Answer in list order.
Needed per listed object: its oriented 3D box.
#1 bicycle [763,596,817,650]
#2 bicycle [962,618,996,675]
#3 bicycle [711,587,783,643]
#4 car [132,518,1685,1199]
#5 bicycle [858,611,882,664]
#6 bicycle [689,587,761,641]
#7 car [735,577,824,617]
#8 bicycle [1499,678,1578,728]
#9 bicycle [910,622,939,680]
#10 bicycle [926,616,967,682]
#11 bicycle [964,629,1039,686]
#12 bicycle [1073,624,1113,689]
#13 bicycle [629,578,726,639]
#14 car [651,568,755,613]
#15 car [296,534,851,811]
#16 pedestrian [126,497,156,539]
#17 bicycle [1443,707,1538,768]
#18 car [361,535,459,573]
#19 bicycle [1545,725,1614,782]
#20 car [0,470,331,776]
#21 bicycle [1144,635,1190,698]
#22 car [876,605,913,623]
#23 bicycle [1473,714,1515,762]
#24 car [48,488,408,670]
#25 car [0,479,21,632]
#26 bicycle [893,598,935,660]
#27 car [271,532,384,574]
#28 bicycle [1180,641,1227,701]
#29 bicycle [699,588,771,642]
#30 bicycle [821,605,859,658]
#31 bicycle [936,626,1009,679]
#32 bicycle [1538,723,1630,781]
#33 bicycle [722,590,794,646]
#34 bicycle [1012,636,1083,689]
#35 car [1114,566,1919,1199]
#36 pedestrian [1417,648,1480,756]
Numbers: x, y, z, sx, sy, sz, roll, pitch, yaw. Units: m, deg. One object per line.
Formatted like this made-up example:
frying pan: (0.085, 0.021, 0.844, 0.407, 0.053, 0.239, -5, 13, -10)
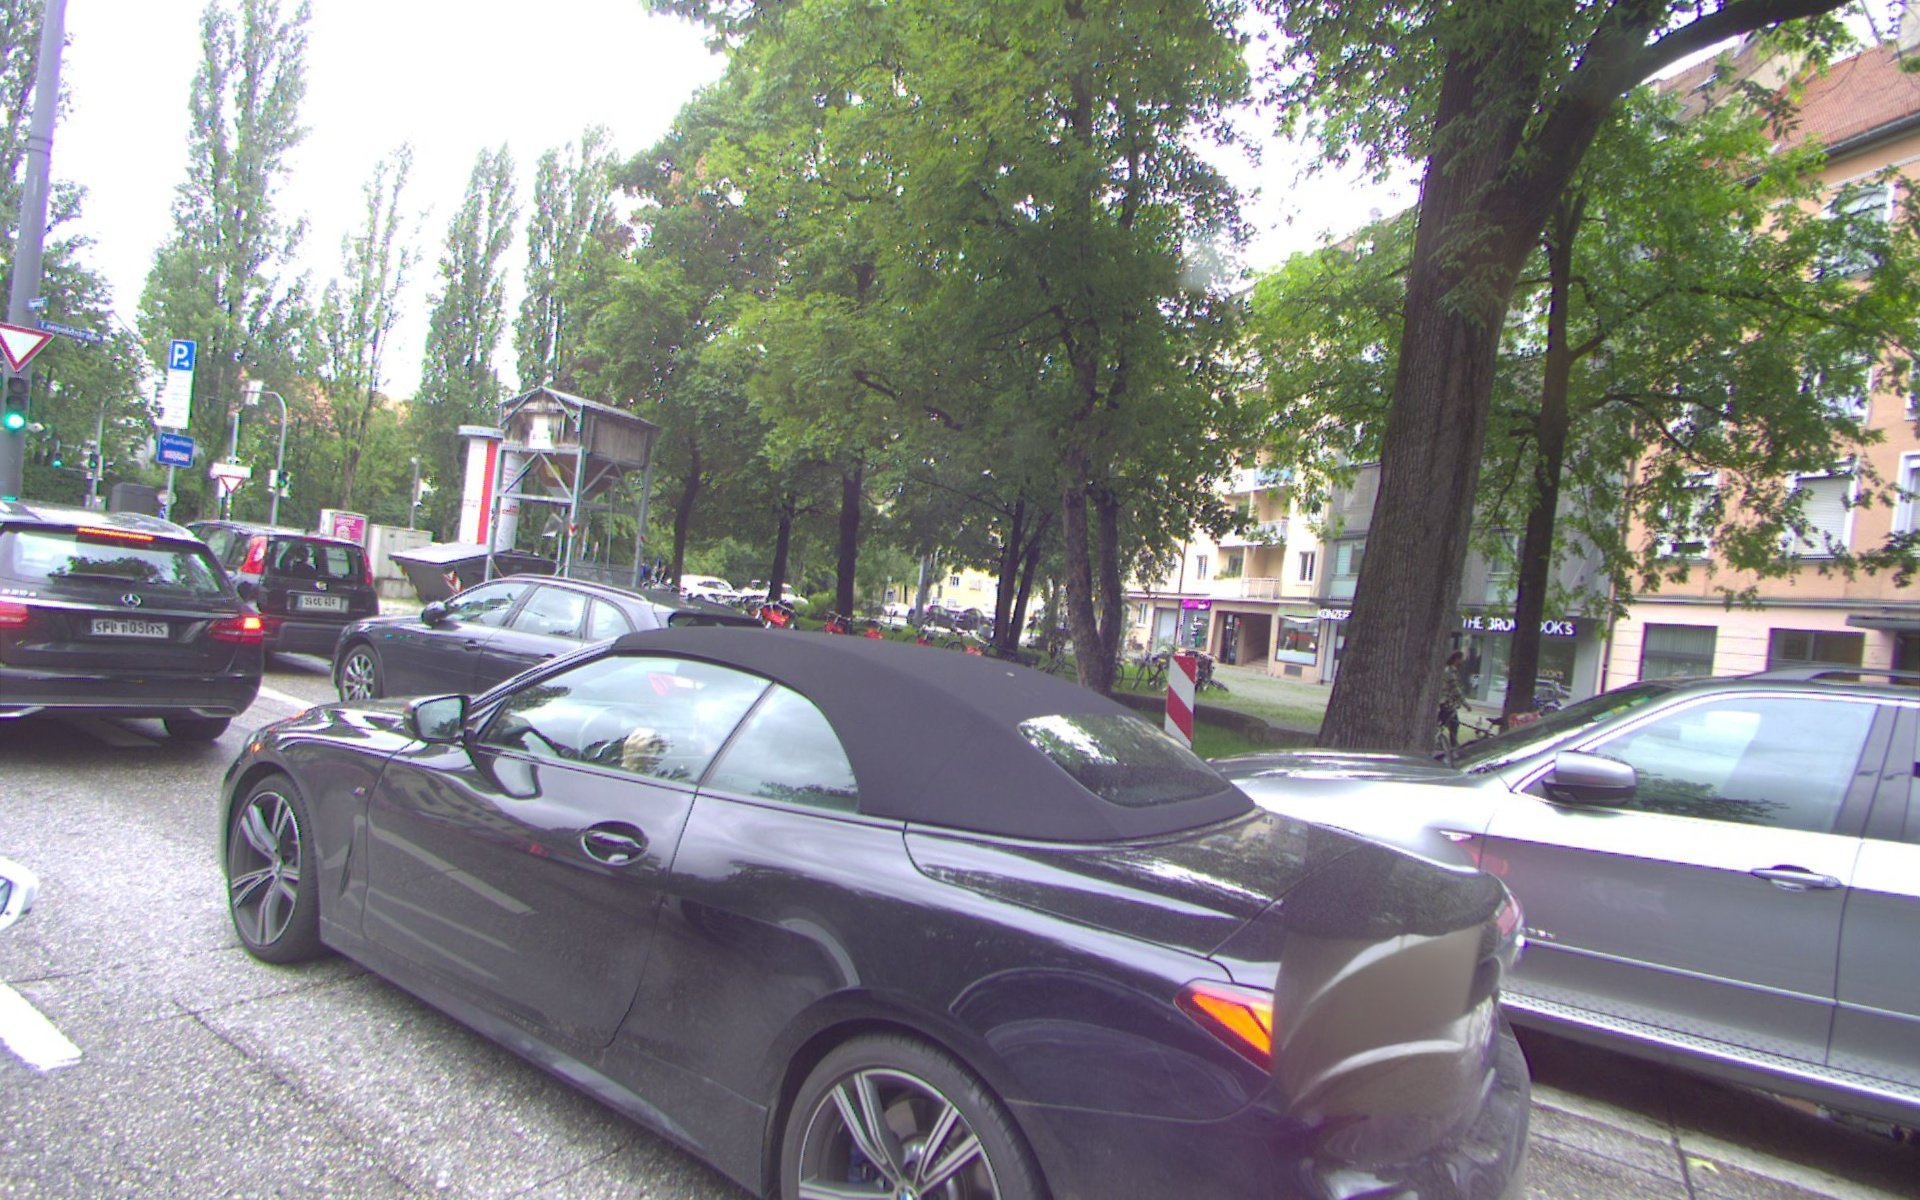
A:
bicycle: (-3.166, 0.446, 18.832, 0.307, 0.904, 1.414, 7, -2, 17)
bicycle: (0.309, 0.777, 17.184, 0.308, 0.904, 1.412, 7, -2, -5)
bicycle: (-4.080, 0.302, 19.351, 0.308, 0.904, 1.408, 6, -2, 38)
car: (-0.664, 0.692, 3.336, 4.719, 1.406, 1.726, 7, 0, 32)
bicycle: (-1.637, 0.672, 18.268, 0.308, 0.904, 1.412, 7, -2, -5)
bicycle: (-4.612, 0.281, 19.782, 0.308, 0.904, 1.408, 6, -2, 38)
car: (-8.413, -0.111, 47.288, 1.700, 1.424, 4.370, 7, 0, 27)
bicycle: (18.272, 3.229, 31.832, 0.500, 1.304, 2.238, 7, -2, -22)
bicycle: (-0.608, 0.848, 16.995, 0.308, 0.904, 1.412, 7, -2, -5)
bicycle: (-0.283, 1.134, 23.292, 0.619, 1.372, 2.471, 7, -2, 3)
bicycle: (0.781, 1.081, 19.107, 1.391, 0.904, 0.312, 6, -1, 38)
bicycle: (3.307, 1.381, 25.184, 0.619, 1.374, 2.467, 7, 2, 2)
bicycle: (-5.739, 0.203, 20.597, 0.619, 1.028, 2.241, 7, -2, 21)
car: (-10.736, -0.372, 42.356, 1.700, 1.424, 4.370, 7, 0, 27)
car: (-3.348, 0.459, 8.446, 4.563, 1.479, 1.770, 7, 0, 30)
pedestrian: (-35.205, -3.530, 43.240, 0.692, 1.682, 0.550, 7, -1, -18)
bicycle: (7.950, 2.057, 15.100, 1.163, 0.732, 0.317, 6, -2, 43)
car: (-29.557, -2.461, 54.209, 1.756, 1.504, 4.251, 7, 0, 30)
bicycle: (8.953, 2.223, 14.530, 1.167, 0.732, 0.316, 9, -2, -33)
car: (-6.565, -0.050, 6.893, 4.626, 1.567, 1.867, 7, -2, 32)
bicycle: (5.353, 1.690, 26.139, 0.619, 1.374, 2.467, 7, 2, 2)
car: (-6.556, 1.413, 101.067, 1.755, 1.504, 4.134, 7, 0, 27)
bicycle: (8.868, 2.298, 16.693, 0.314, 0.732, 1.174, 6, -2, 40)
car: (-8.663, -0.280, 11.800, 4.480, 1.568, 1.832, 7, 0, 33)
car: (-11.561, -0.678, 10.364, 3.935, 1.504, 1.782, 7, 0, 33)
bicycle: (-1.084, 0.670, 24.332, 0.619, 1.374, 2.468, 7, 1, 3)
car: (-31.339, -2.305, 49.980, 1.756, 1.504, 4.345, 7, 0, 30)
bicycle: (6.735, 1.944, 27.951, 0.619, 1.374, 2.467, 7, 2, 2)
bicycle: (-4.354, 0.307, 19.565, 0.308, 0.904, 1.408, 6, -2, 38)
bicycle: (-2.200, 0.572, 18.570, 0.307, 0.905, 1.413, 7, 0, 6)
bicycle: (0.259, 1.059, 20.291, 1.395, 0.904, 0.311, 8, -1, -25)
bicycle: (9.994, 2.424, 16.143, 0.316, 0.732, 1.167, 8, -2, -36)
bicycle: (-3.825, 0.359, 19.133, 0.308, 0.904, 1.408, 6, -2, 38)
bicycle: (1.755, 1.257, 20.304, 1.391, 0.904, 0.312, 6, -1, 38)
car: (3.189, 1.071, 4.243, 4.475, 1.842, 1.935, 7, 0, 27)
pedestrian: (9.161, 1.904, 18.870, 0.622, 1.924, 0.626, 8, -1, -31)
